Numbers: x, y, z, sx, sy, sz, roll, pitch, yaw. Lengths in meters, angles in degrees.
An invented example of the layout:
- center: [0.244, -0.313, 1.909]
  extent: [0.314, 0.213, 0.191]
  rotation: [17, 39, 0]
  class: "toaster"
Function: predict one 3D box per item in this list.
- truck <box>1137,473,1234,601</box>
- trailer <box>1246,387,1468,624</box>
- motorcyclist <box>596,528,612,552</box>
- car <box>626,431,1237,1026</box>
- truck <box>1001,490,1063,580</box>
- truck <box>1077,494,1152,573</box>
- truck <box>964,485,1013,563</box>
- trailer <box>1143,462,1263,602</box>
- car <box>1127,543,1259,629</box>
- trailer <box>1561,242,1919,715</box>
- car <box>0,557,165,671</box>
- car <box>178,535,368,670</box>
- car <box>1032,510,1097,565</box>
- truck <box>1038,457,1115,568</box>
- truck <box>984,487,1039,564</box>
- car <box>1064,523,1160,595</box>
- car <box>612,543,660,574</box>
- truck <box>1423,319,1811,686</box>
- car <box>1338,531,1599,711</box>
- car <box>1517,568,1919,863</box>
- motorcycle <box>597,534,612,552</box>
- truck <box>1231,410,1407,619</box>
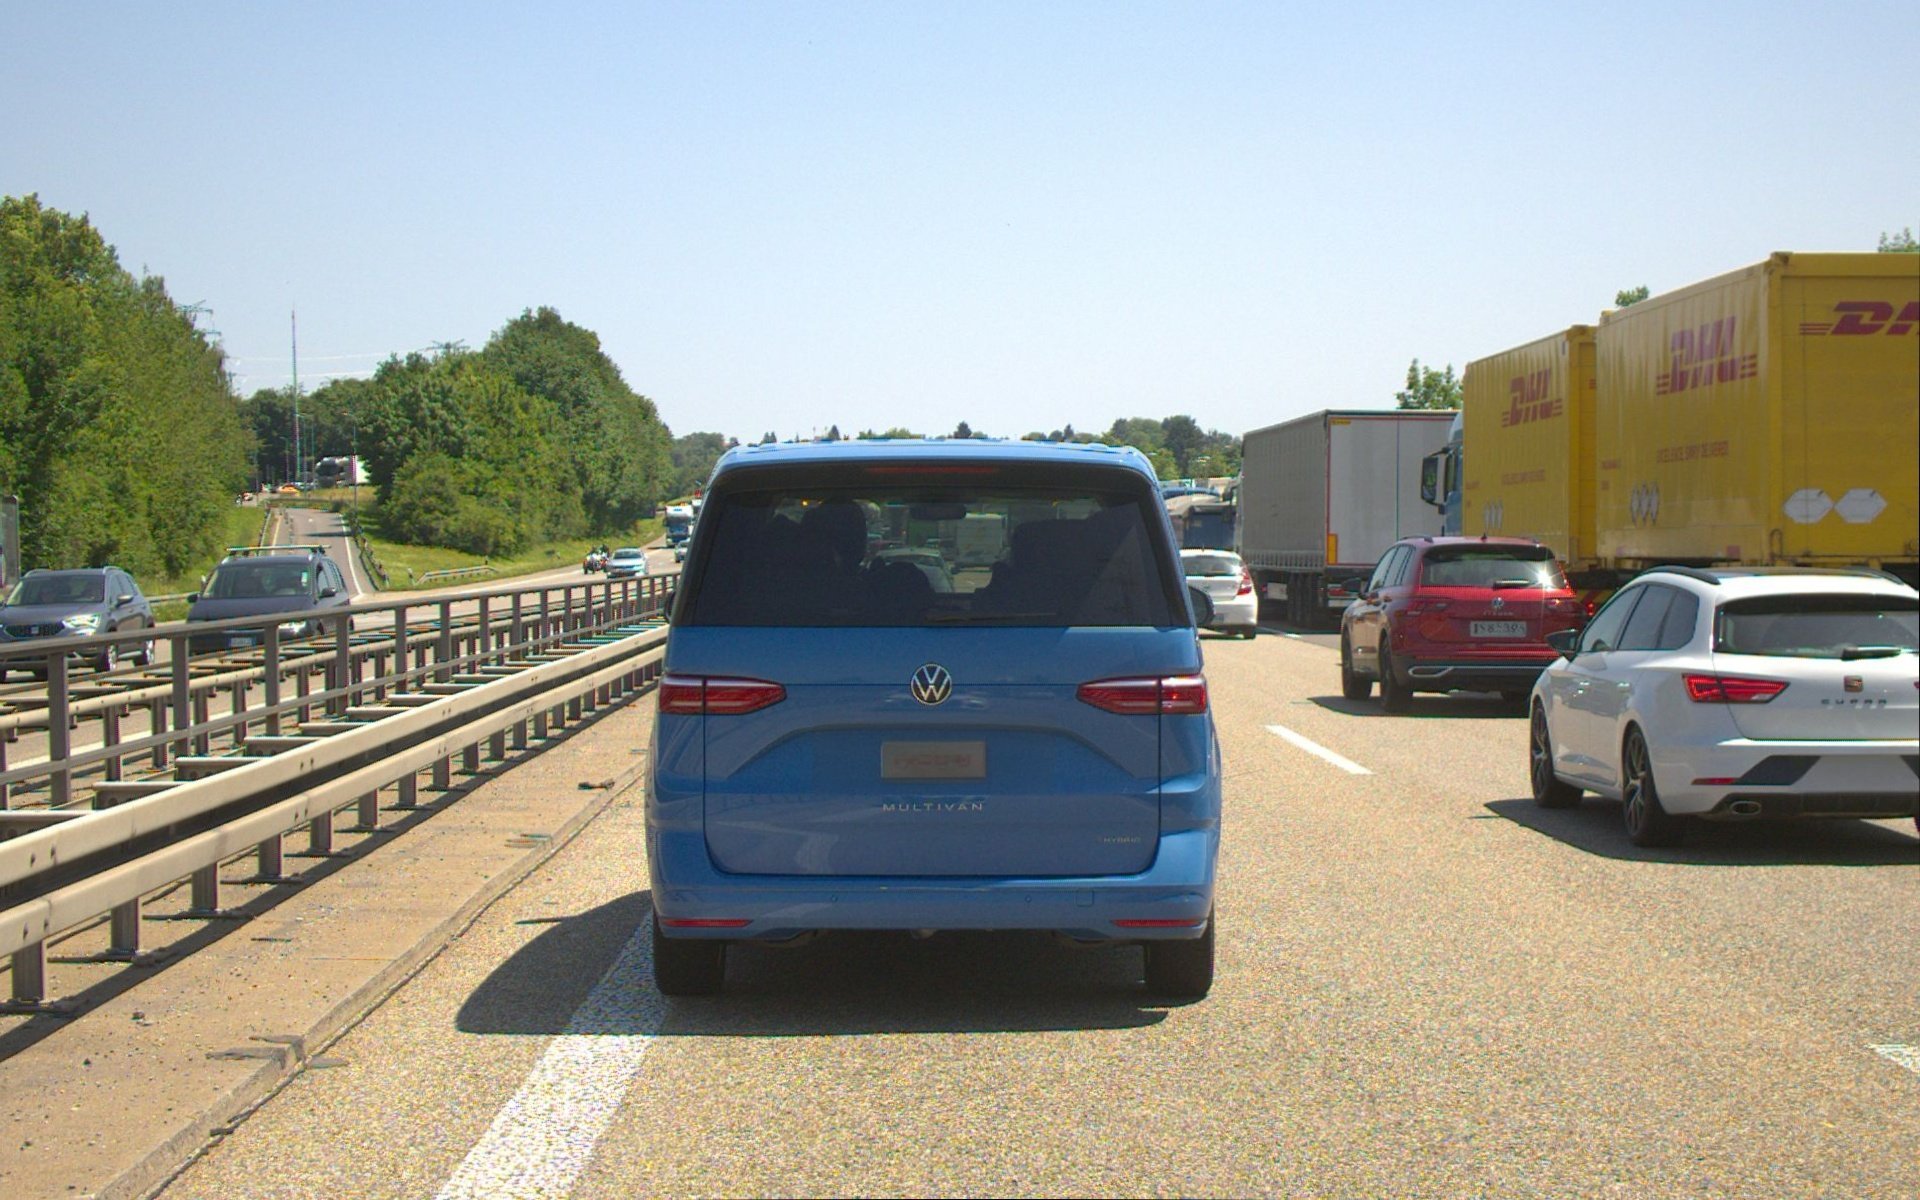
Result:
- center: [6.774, -1.868, 103.921]
  extent: [2.367, 3.709, 6.034]
  rotation: [1, 0, -1]
  class: "truck"
- center: [7.442, -1.690, 66.092]
  extent: [2.755, 4.132, 11.312]
  rotation: [1, 0, -1]
  class: "trailer"
- center: [-22.309, -3.768, 215.660]
  extent: [0.898, 1.436, 1.082]
  rotation: [-1, 2, -1]
  class: "motorcyclist"
- center: [-0.107, 0.370, 12.615]
  extent: [1.882, 1.831, 4.000]
  rotation: [0, 1, -1]
  class: "car"
- center: [4.093, -3.662, 197.986]
  extent: [2.833, 5.023, 11.818]
  rotation: [1, 0, -2]
  class: "truck"
- center: [6.542, -2.780, 146.719]
  extent: [2.355, 3.207, 9.742]
  rotation: [1, 0, -2]
  class: "truck"
- center: [2.009, -5.376, 246.106]
  extent: [2.833, 5.354, 12.556]
  rotation: [1, 0, -2]
  class: "truck"
- center: [6.855, -1.861, 98.400]
  extent: [2.379, 3.731, 11.189]
  rotation: [1, 0, -1]
  class: "trailer"
- center: [3.910, -0.261, 58.252]
  extent: [1.838, 1.409, 4.000]
  rotation: [0, 1, -2]
  class: "car"
- center: [8.131, -1.046, 33.754]
  extent: [2.701, 4.010, 8.931]
  rotation: [1, 0, -1]
  class: "trailer"
- center: [-12.972, 0.192, 50.256]
  extent: [1.754, 1.542, 4.000]
  rotation: [-2, 0, -1]
  class: "car"
- center: [-9.268, 0.000, 46.644]
  extent: [1.754, 1.715, 4.101]
  rotation: [-1, 1, -1]
  class: "car"
- center: [3.053, -1.837, 101.305]
  extent: [1.715, 1.535, 3.821]
  rotation: [-1, 1, -1]
  class: "car"
- center: [5.501, -4.090, 163.829]
  extent: [2.833, 5.023, 11.147]
  rotation: [1, 0, -2]
  class: "truck"
- center: [3.349, -4.893, 226.049]
  extent: [2.833, 4.869, 13.222]
  rotation: [-1, 1, -2]
  class: "truck"
- center: [3.429, -0.927, 78.076]
  extent: [1.715, 1.581, 3.822]
  rotation: [-1, 1, -4]
  class: "car"
- center: [-15.391, -1.986, 163.449]
  extent: [1.910, 1.389, 4.165]
  rotation: [-2, 0, -1]
  class: "car"
- center: [8.005, -1.111, 43.415]
  extent: [2.722, 4.041, 10.336]
  rotation: [1, 0, -1]
  class: "truck"
- center: [4.748, 0.156, 32.603]
  extent: [1.851, 1.603, 4.000]
  rotation: [0, 1, -1]
  class: "car"
- center: [4.250, 0.532, 18.498]
  extent: [1.781, 1.382, 4.188]
  rotation: [0, 1, -1]
  class: "car"
- center: [-22.288, -3.583, 215.777]
  extent: [0.702, 1.067, 2.306]
  rotation: [-1, 2, -1]
  class: "motorcycle"
- center: [7.360, -1.712, 71.339]
  extent: [2.768, 4.081, 6.984]
  rotation: [1, 0, -1]
  class: "truck"
